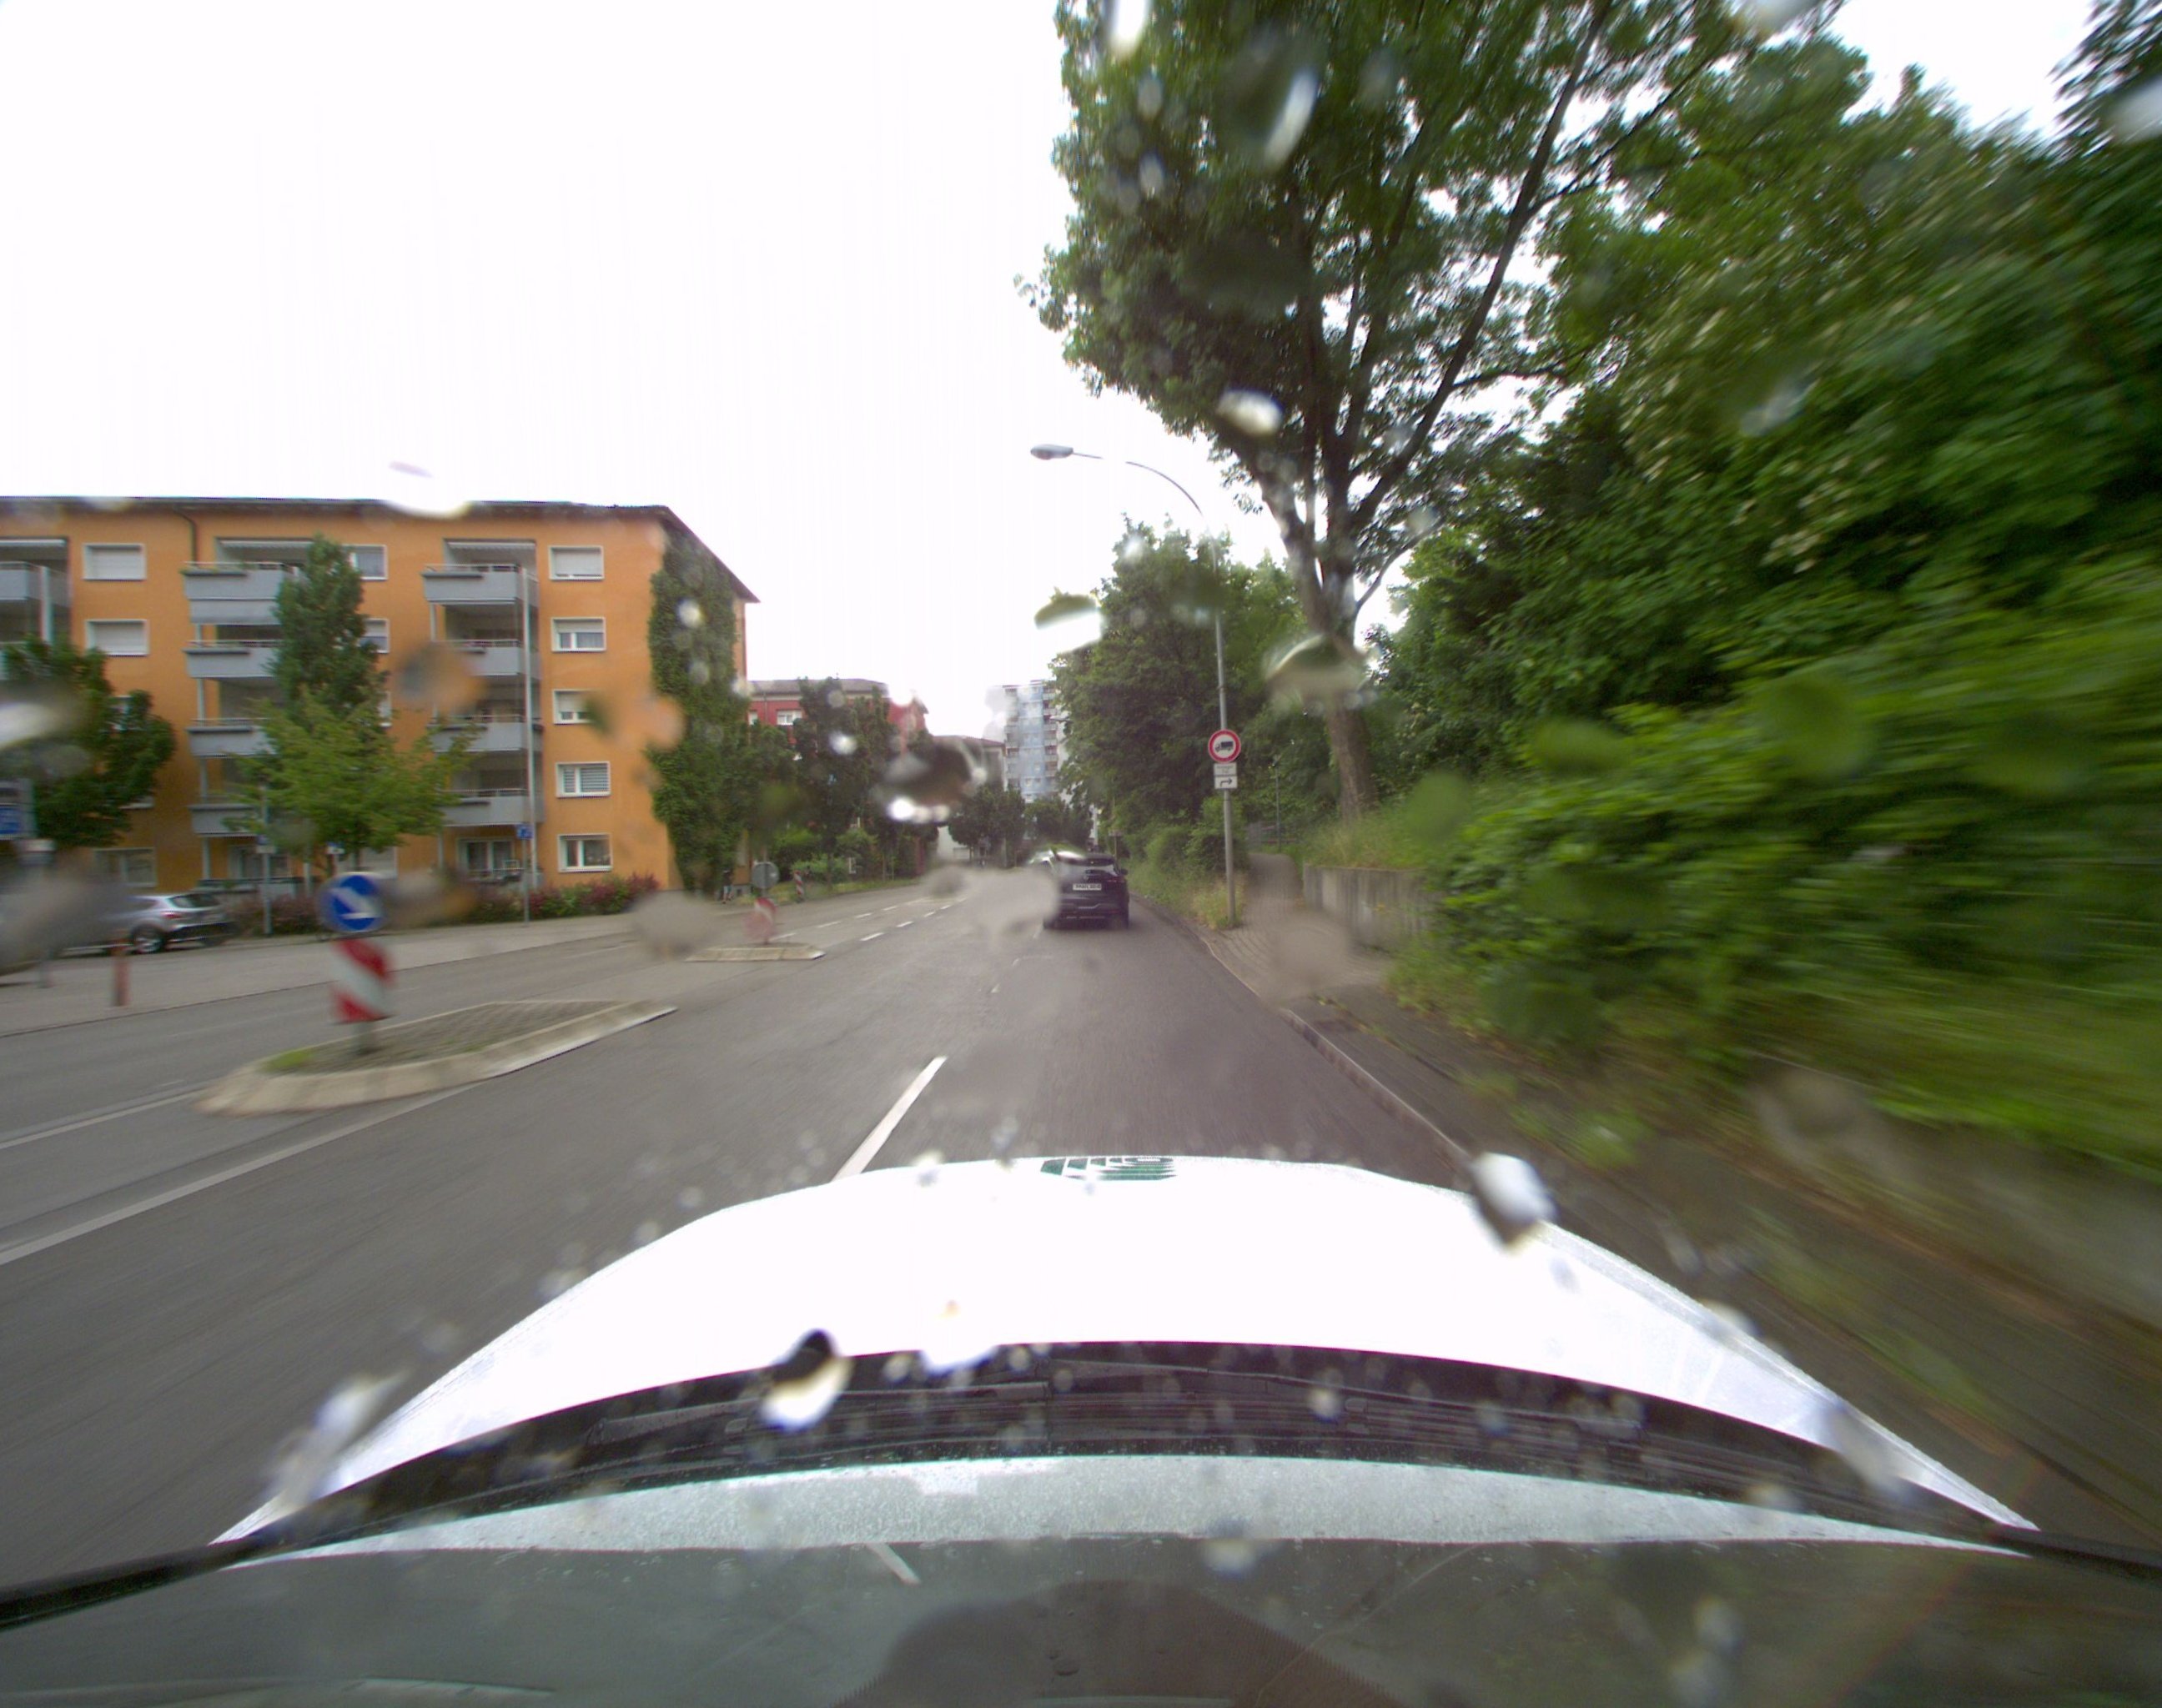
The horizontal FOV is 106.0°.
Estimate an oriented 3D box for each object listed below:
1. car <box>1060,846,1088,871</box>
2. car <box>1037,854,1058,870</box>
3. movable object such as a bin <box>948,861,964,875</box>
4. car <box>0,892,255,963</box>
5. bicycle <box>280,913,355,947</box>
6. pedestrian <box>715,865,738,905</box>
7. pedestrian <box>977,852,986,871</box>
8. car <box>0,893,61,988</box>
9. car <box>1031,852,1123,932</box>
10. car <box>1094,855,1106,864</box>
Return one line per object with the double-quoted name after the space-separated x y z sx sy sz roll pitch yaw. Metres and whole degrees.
-0.466 0.351 59.122 1.881 1.711 3.999 -2 -1 0 "car"
-4.139 0.977 101.712 1.789 1.841 4.009 -3 0 8 "car"
-12.607 1.414 82.442 1.316 1.361 1.258 -3 0 1 "movable object such as a bin"
-26.059 1.968 22.275 4.628 1.504 1.875 -3 0 -7 "car"
-20.240 2.003 21.621 0.462 0.749 1.547 -3 0 2 "bicycle"
-14.751 1.296 33.879 0.584 1.604 0.661 -3 0 1 "pedestrian"
-10.453 0.809 85.768 0.713 2.013 0.950 -3 -1 1 "pedestrian"
-17.593 1.396 11.097 1.716 1.432 4.414 -3 0 1 "car"
-0.103 0.781 18.564 1.839 1.582 3.999 -1 0 -1 "car"
2.928 0.839 125.739 1.491 1.348 3.367 -3 0 8 "car"
